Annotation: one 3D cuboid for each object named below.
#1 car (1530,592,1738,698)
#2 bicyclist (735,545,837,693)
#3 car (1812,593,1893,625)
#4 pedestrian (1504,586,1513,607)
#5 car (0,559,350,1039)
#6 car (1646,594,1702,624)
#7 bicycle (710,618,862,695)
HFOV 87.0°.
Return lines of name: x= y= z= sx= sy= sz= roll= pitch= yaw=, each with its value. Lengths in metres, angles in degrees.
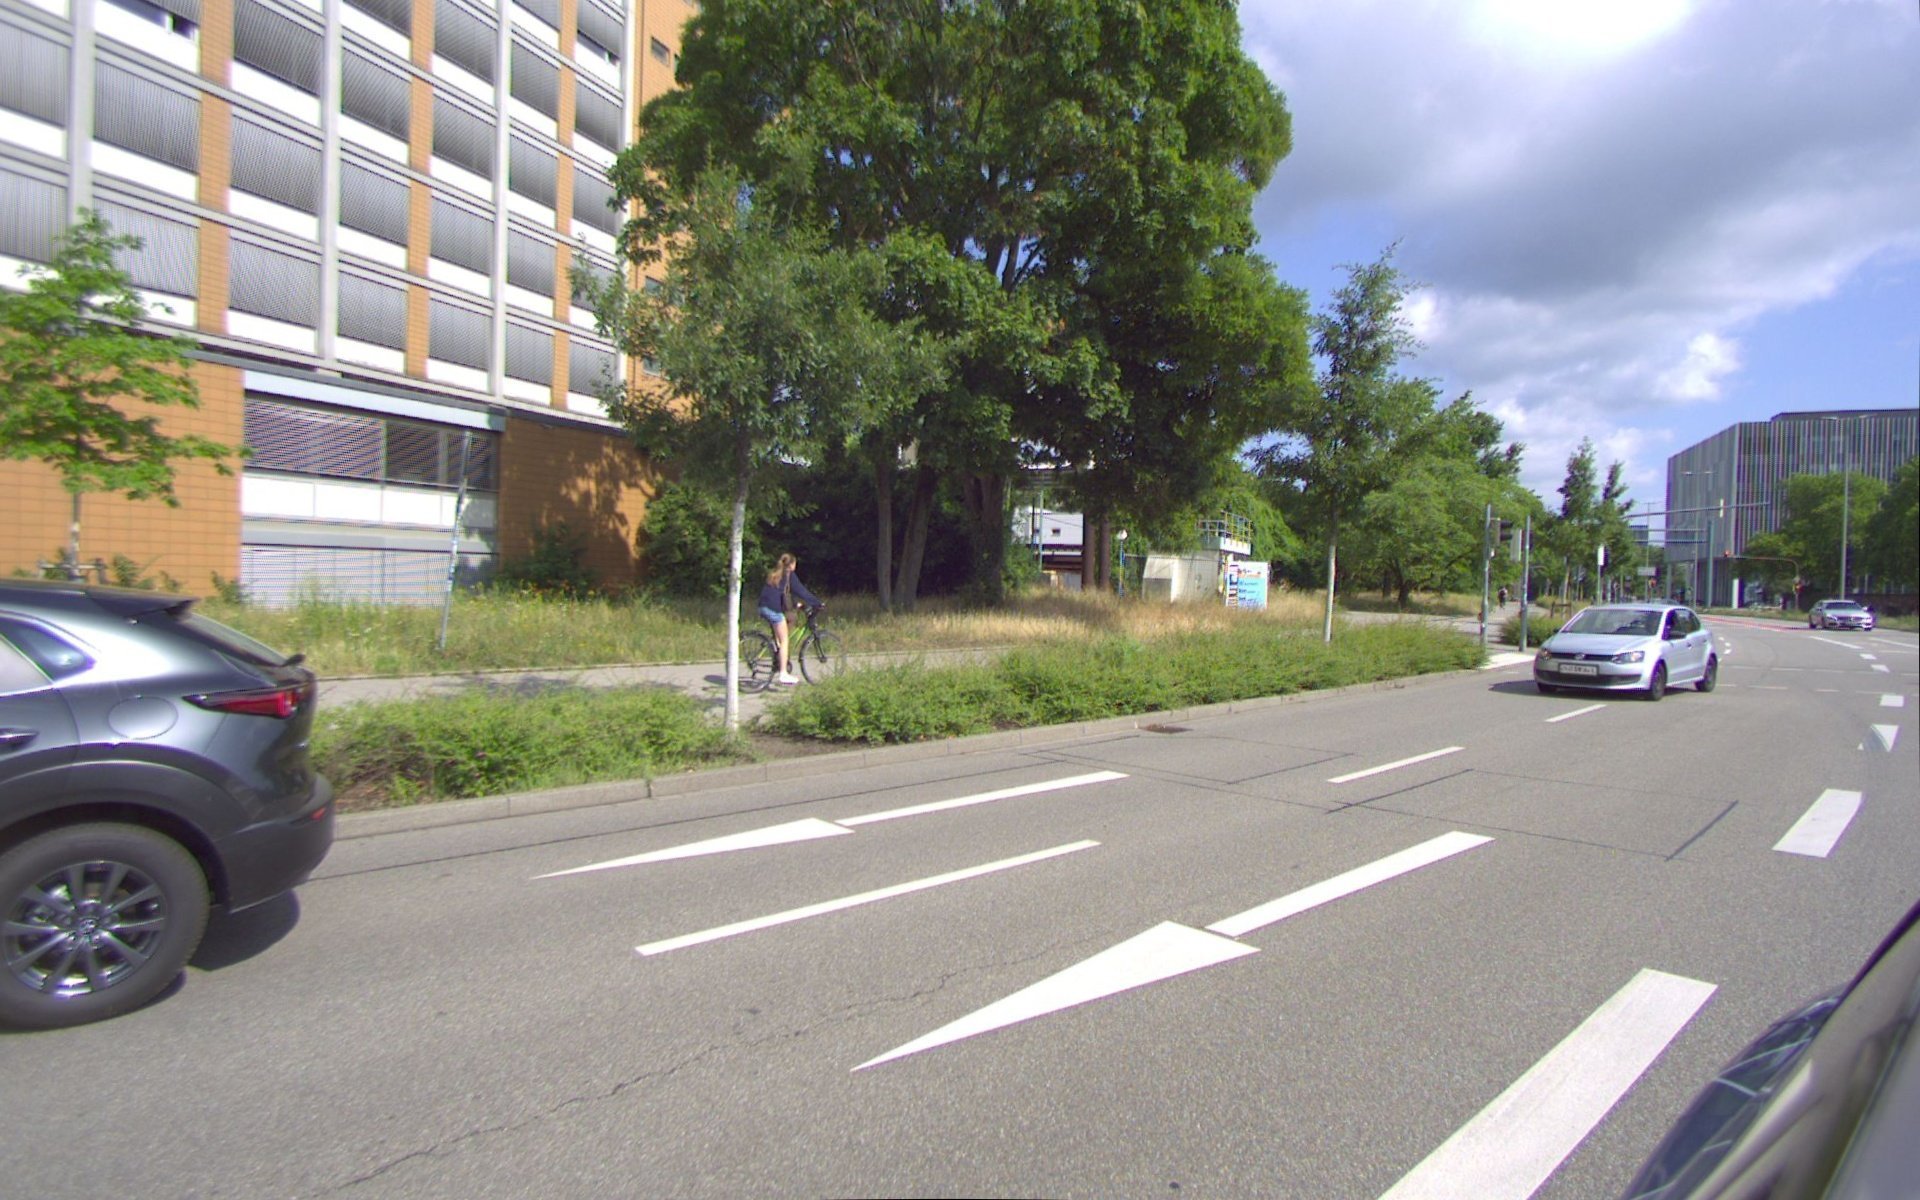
car: x=10.845 y=0.639 z=16.200 sx=3.933 sy=1.460 sz=1.655 roll=0 pitch=1 yaw=-39
bicyclist: x=-2.135 y=0.204 z=12.446 sx=0.948 sy=1.723 sz=0.737 roll=0 pitch=3 yaw=-41
car: x=43.430 y=0.413 z=49.357 sx=2.045 sy=1.460 sz=4.730 roll=0 pitch=0 yaw=30
pedestrian: x=42.188 y=-0.271 z=77.874 sx=0.536 sy=1.628 sz=0.520 roll=2 pitch=-1 yaw=22
car: x=-4.474 y=0.609 z=3.202 sx=4.130 sy=1.527 sz=1.810 roll=1 pitch=0 yaw=-40
car: x=37.324 y=0.440 z=53.002 sx=1.984 sy=1.394 sz=4.116 roll=3 pitch=2 yaw=30
bicycle: x=-2.117 y=0.669 z=12.450 sx=1.757 sy=0.820 sz=0.626 roll=0 pitch=3 yaw=-41
